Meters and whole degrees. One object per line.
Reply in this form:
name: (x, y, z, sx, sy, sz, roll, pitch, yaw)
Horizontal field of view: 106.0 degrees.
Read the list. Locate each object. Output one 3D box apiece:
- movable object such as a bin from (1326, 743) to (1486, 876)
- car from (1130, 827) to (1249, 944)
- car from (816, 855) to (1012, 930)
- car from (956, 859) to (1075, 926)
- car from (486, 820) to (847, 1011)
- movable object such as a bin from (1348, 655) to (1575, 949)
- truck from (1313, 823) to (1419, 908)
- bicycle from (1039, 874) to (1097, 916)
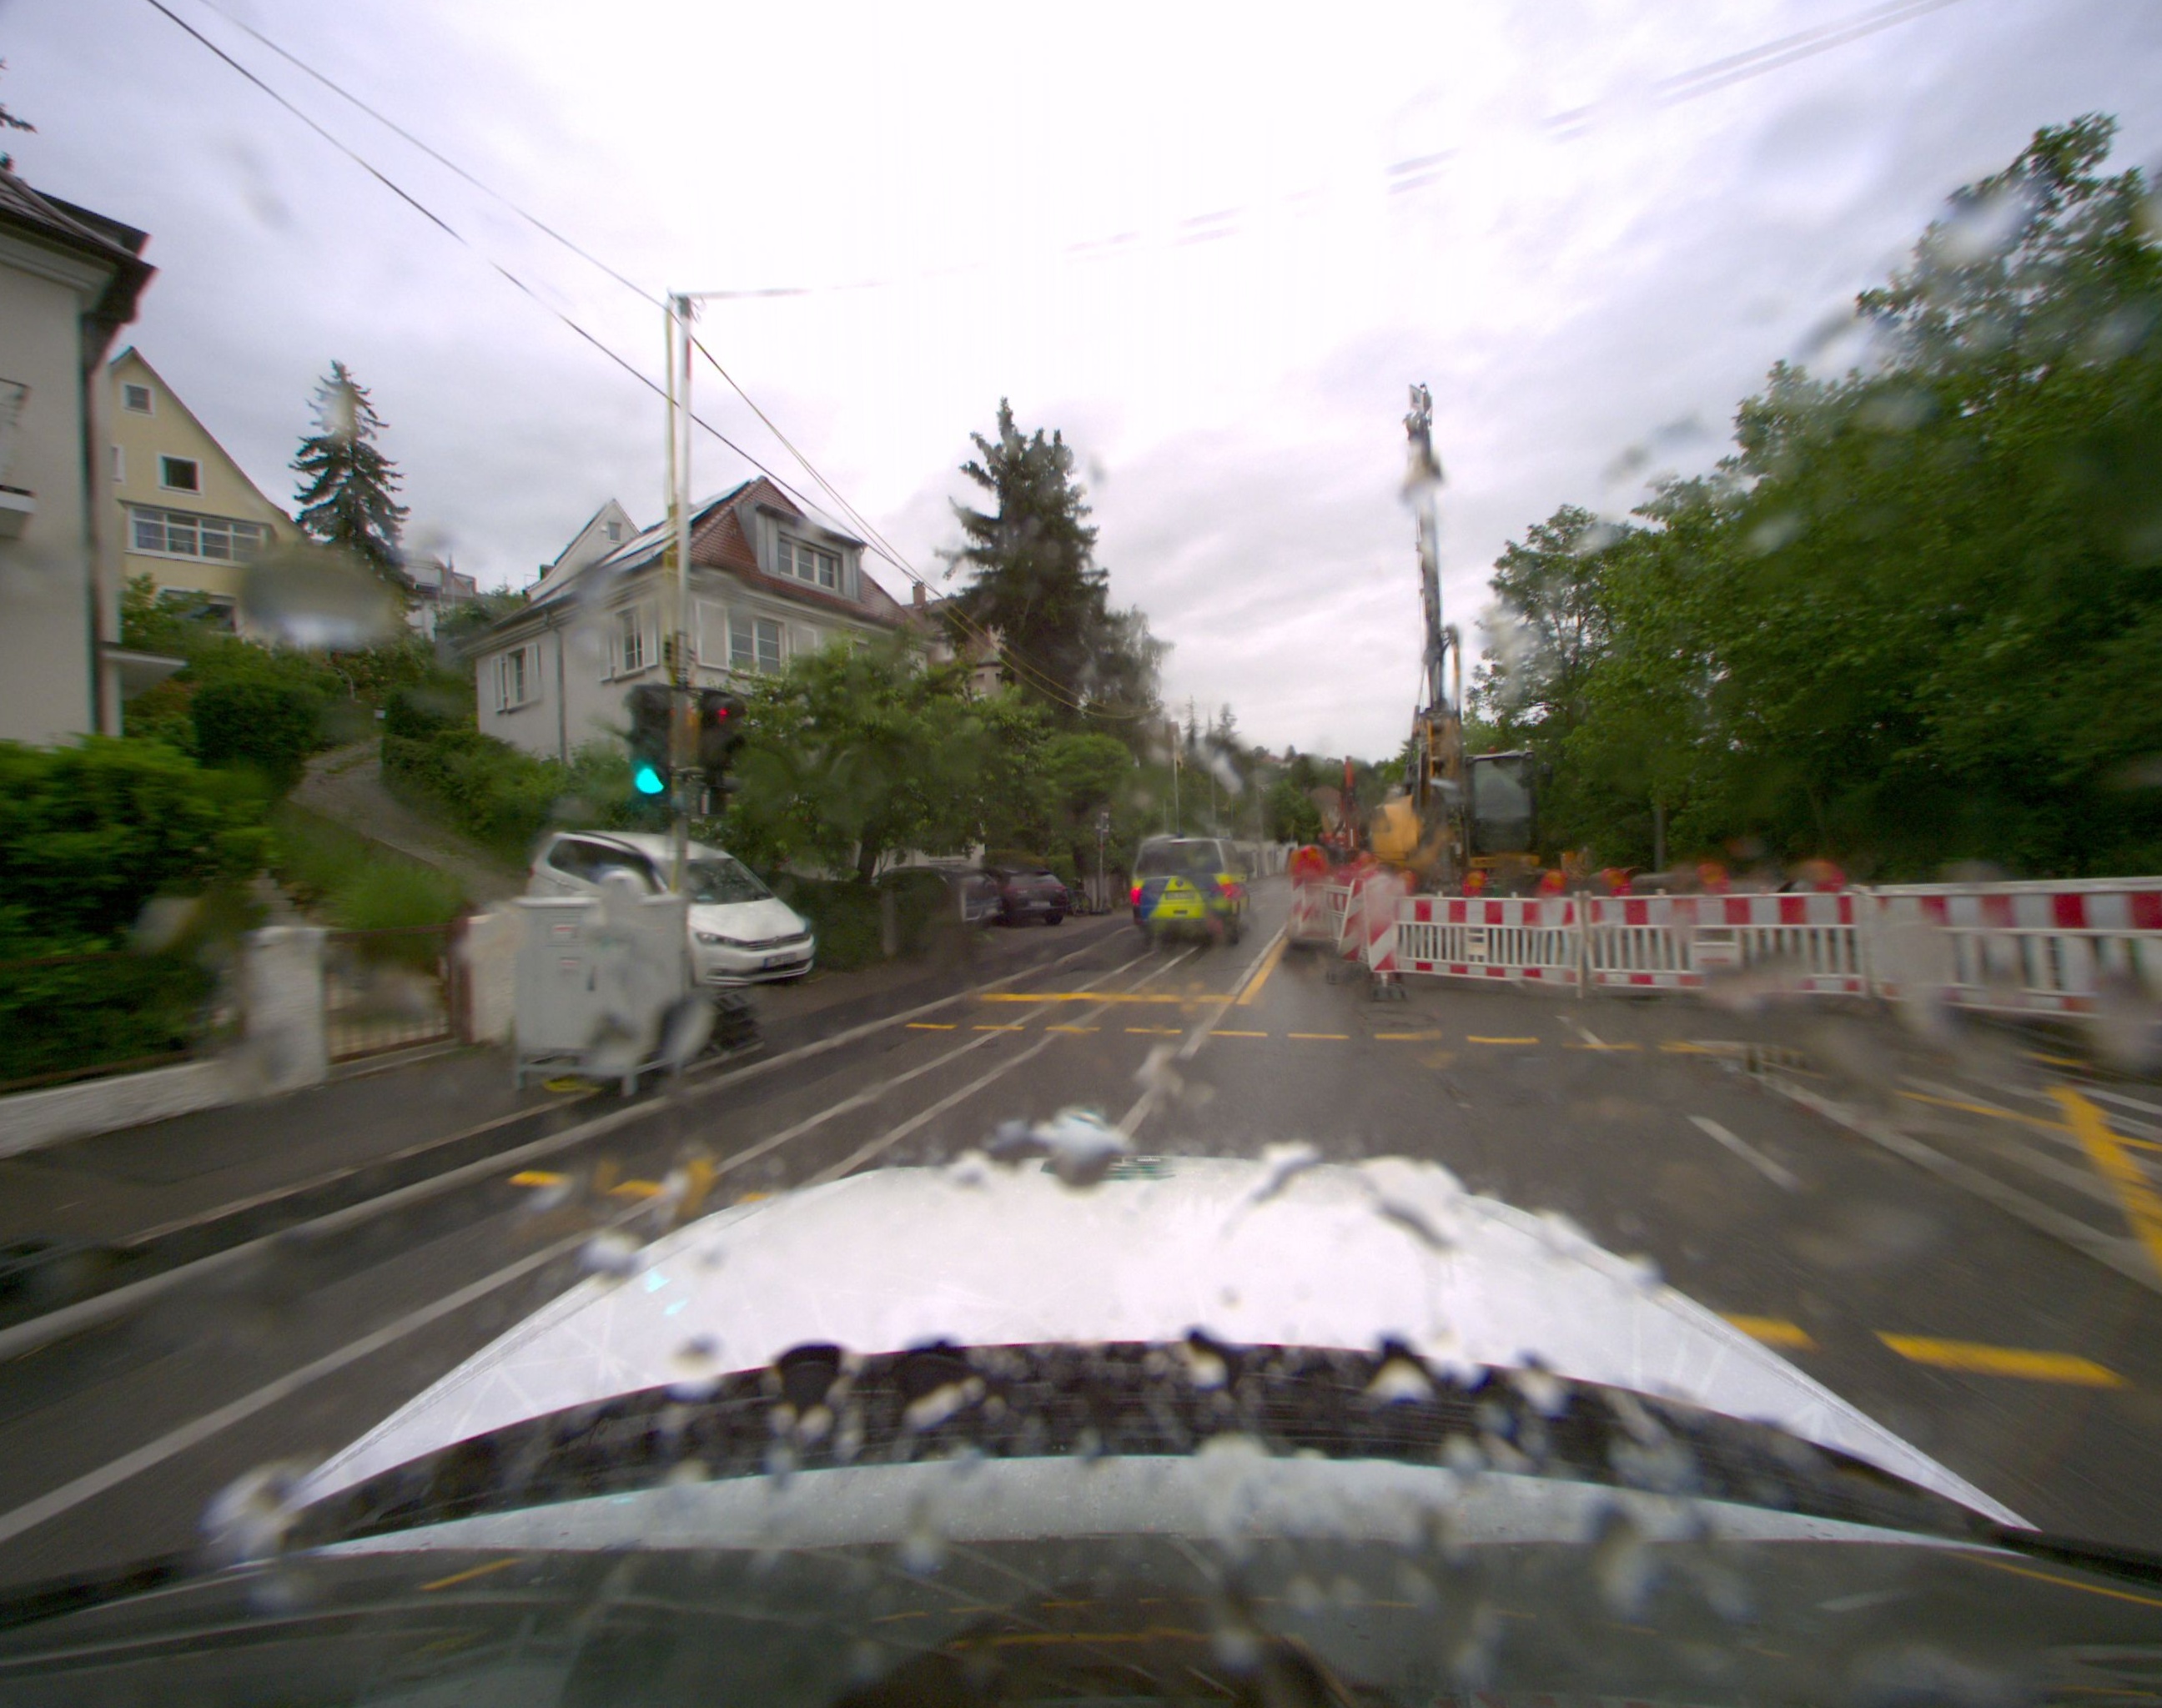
movable object such as a bin: (14.374, -1.749, 35.711, 7.204, 5.067, 3.648, -1, -3, -45)
car: (2.313, 0.599, 16.291, 1.894, 2.011, 4.455, -1, -1, 13)
car: (-3.768, 0.852, 18.402, 3.950, 1.526, 1.952, -2, -2, 27)
car: (-1.797, 0.924, 20.953, 1.789, 1.526, 3.967, 0, -1, -25)
car: (-5.846, 0.657, 11.331, 4.919, 1.616, 1.875, 9, 5, 27)
movable object such as a bin: (6.392, -0.719, 14.262, 2.854, 4.171, 4.510, -3, -1, 20)
truck: (8.050, 0.347, 23.248, 2.531, 2.108, 3.318, -4, -2, 17)
bicycle: (-0.384, 1.144, 22.767, 1.603, 1.131, 0.446, -2, -2, 31)
